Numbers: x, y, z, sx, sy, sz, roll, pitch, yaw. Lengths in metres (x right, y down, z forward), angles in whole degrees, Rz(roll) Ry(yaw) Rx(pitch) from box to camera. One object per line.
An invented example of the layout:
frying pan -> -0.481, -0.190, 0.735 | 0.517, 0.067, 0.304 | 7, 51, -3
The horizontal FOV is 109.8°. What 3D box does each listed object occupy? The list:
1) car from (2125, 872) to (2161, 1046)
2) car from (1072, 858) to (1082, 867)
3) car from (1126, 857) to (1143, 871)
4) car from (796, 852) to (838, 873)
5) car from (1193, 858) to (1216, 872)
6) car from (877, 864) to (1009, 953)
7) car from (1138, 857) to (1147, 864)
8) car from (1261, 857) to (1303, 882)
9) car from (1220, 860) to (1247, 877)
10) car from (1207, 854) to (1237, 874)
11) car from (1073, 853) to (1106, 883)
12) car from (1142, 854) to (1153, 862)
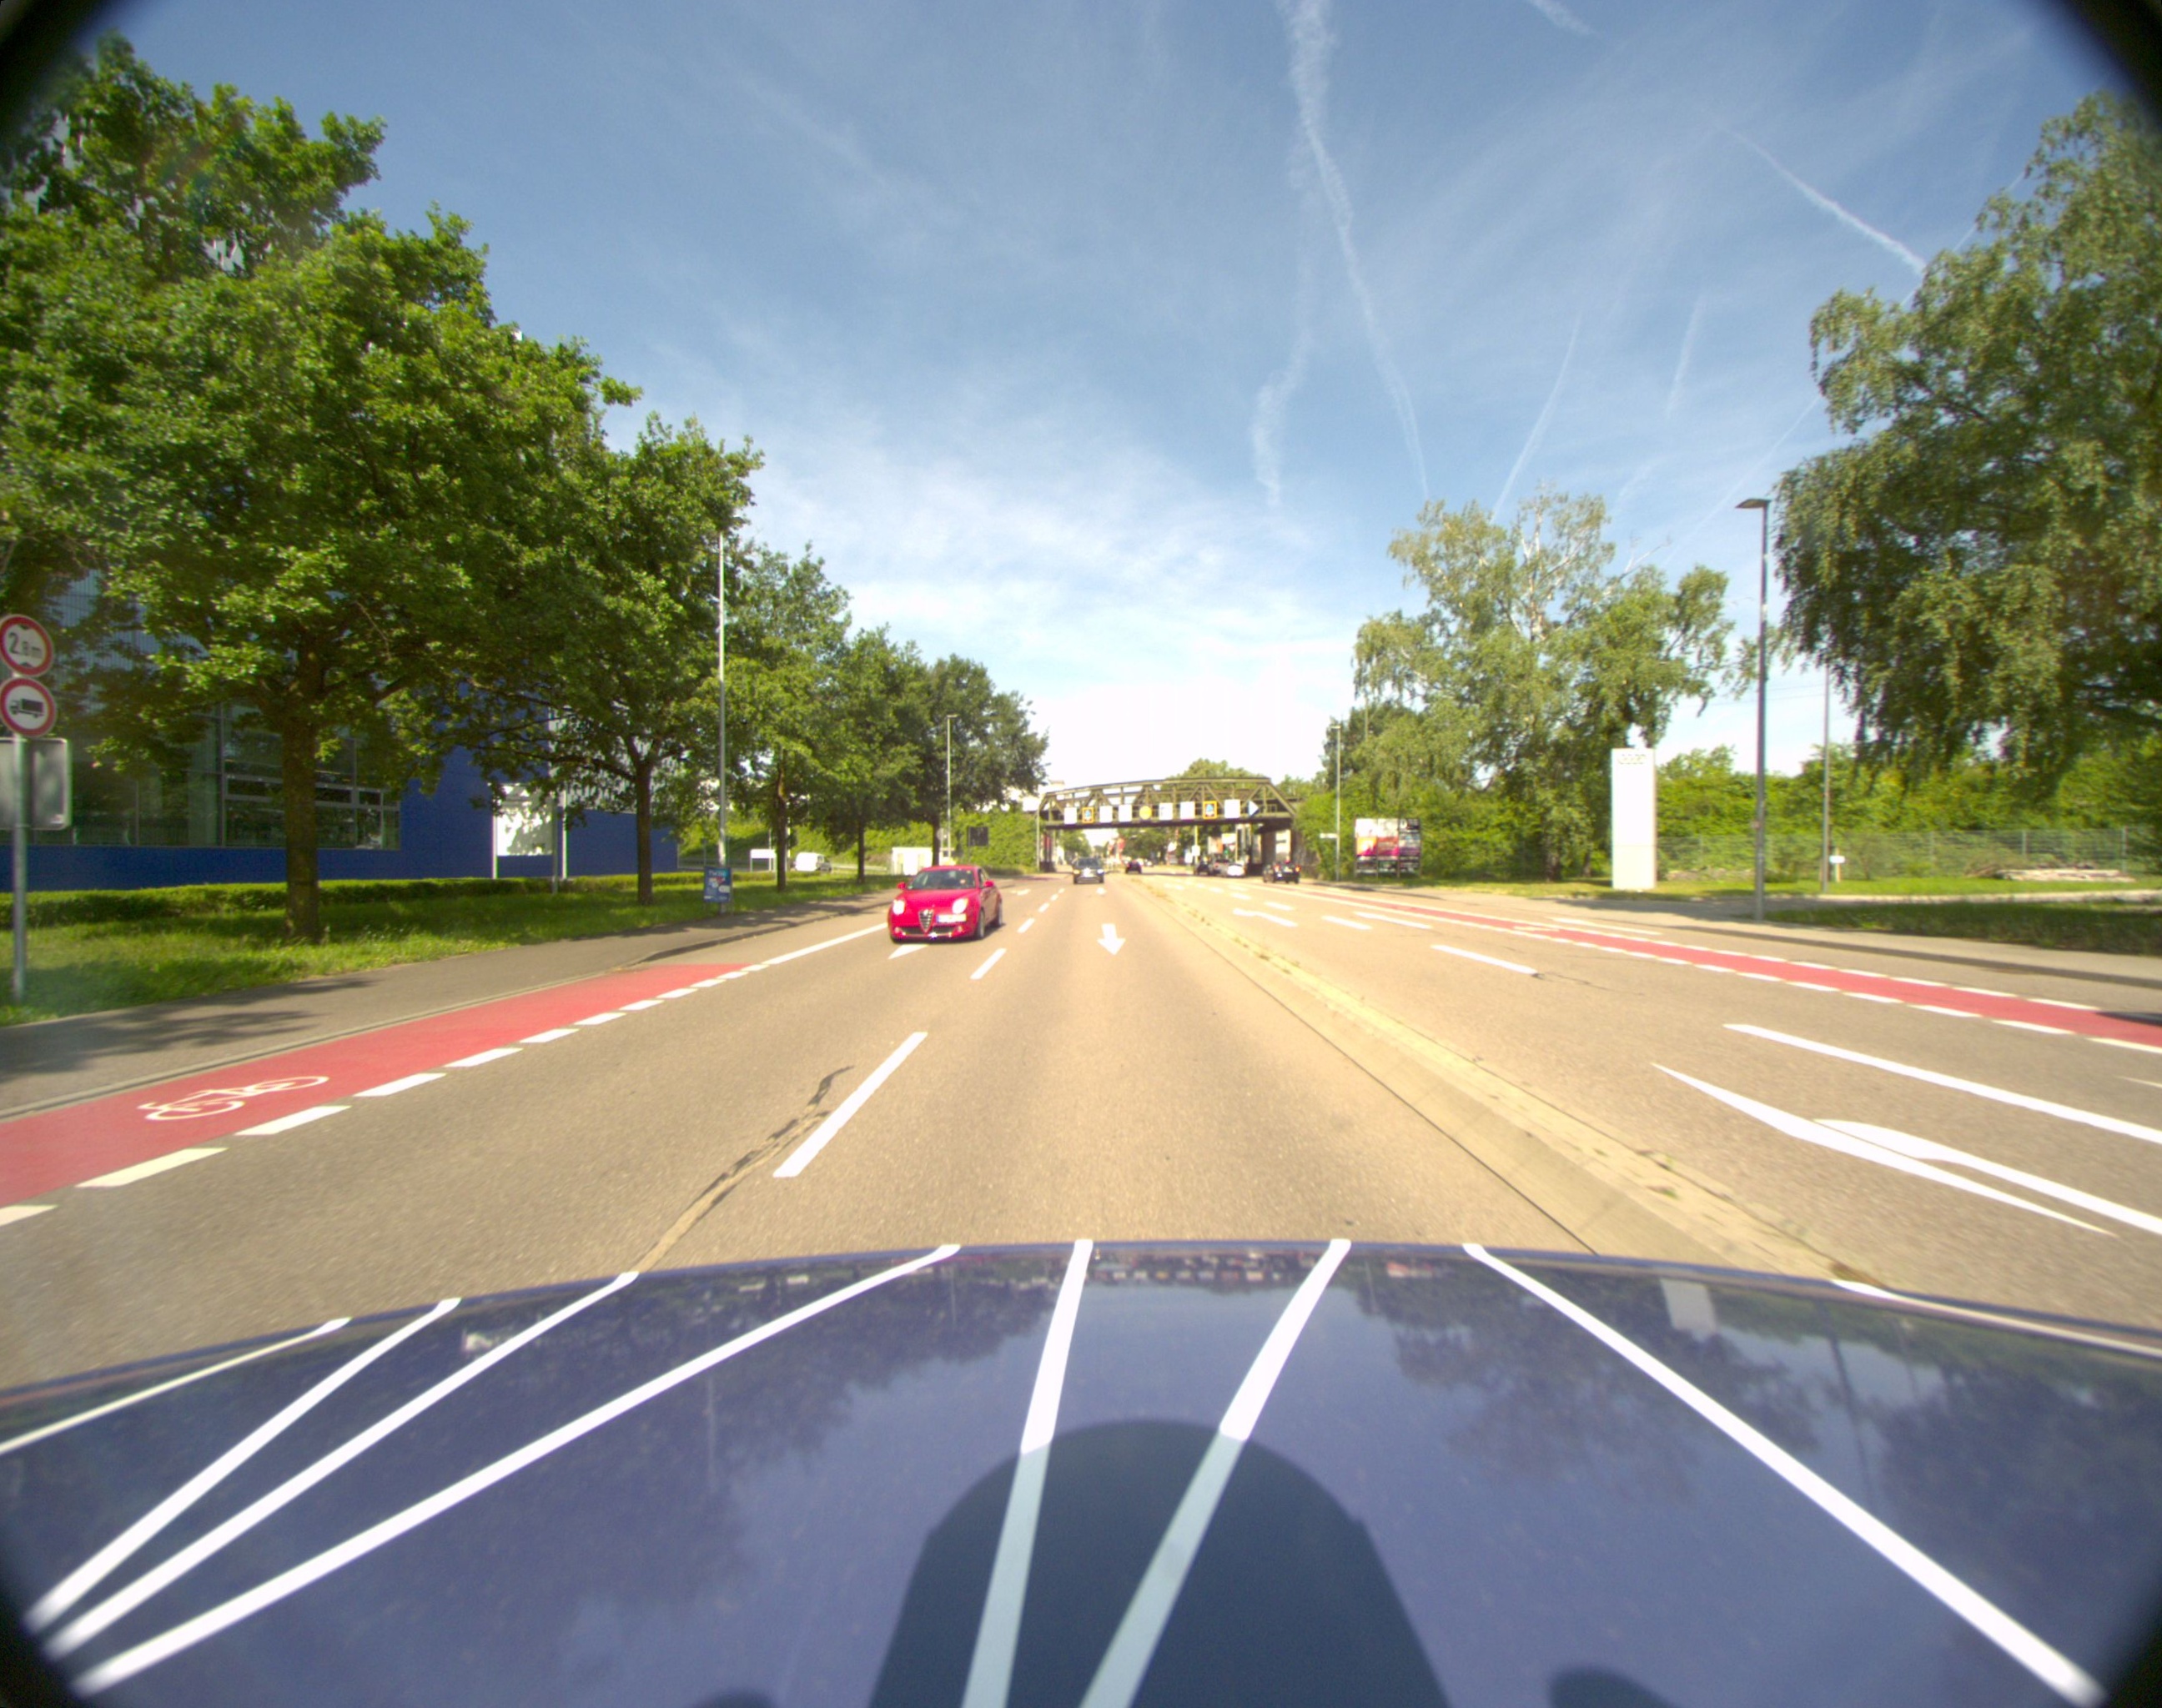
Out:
car -> 10.876, 0.997, 5.169 | 1.998, 1.608, 4.105 | 1, 0, 5
car -> -0.724, 1.594, 145.073 | 1.824, 1.569, 4.246 | 1, 0, 0
car -> 6.112, 1.150, 87.374 | 1.785, 1.438, 4.120 | 1, 0, 1
car -> -21.647, 0.658, 62.468 | 1.855, 1.629, 4.304 | -2, 0, 0
car -> 13.767, 1.207, 84.727 | 1.877, 1.586, 4.387 | 0, 0, 0
car -> -2.641, 0.988, 15.442 | 1.798, 1.446, 3.979 | -1, 1, 2
car -> 15.828, 1.619, 195.719 | 1.824, 1.711, 3.636 | -2, 0, -2
car -> 13.062, 0.986, 49.569 | 1.702, 1.510, 4.027 | 1, 0, 0
car -> 13.618, 1.291, 68.102 | 1.639, 1.379, 4.318 | 1, 0, 1
car -> 13.815, 0.986, 74.785 | 1.998, 1.850, 5.451 | 2, 0, 0
car -> 0.538, 0.804, 45.278 | 1.824, 1.632, 4.113 | -2, 0, 2
car -> 14.852, 0.977, 169.767 | 1.824, 1.711, 3.636 | -2, 0, -2
